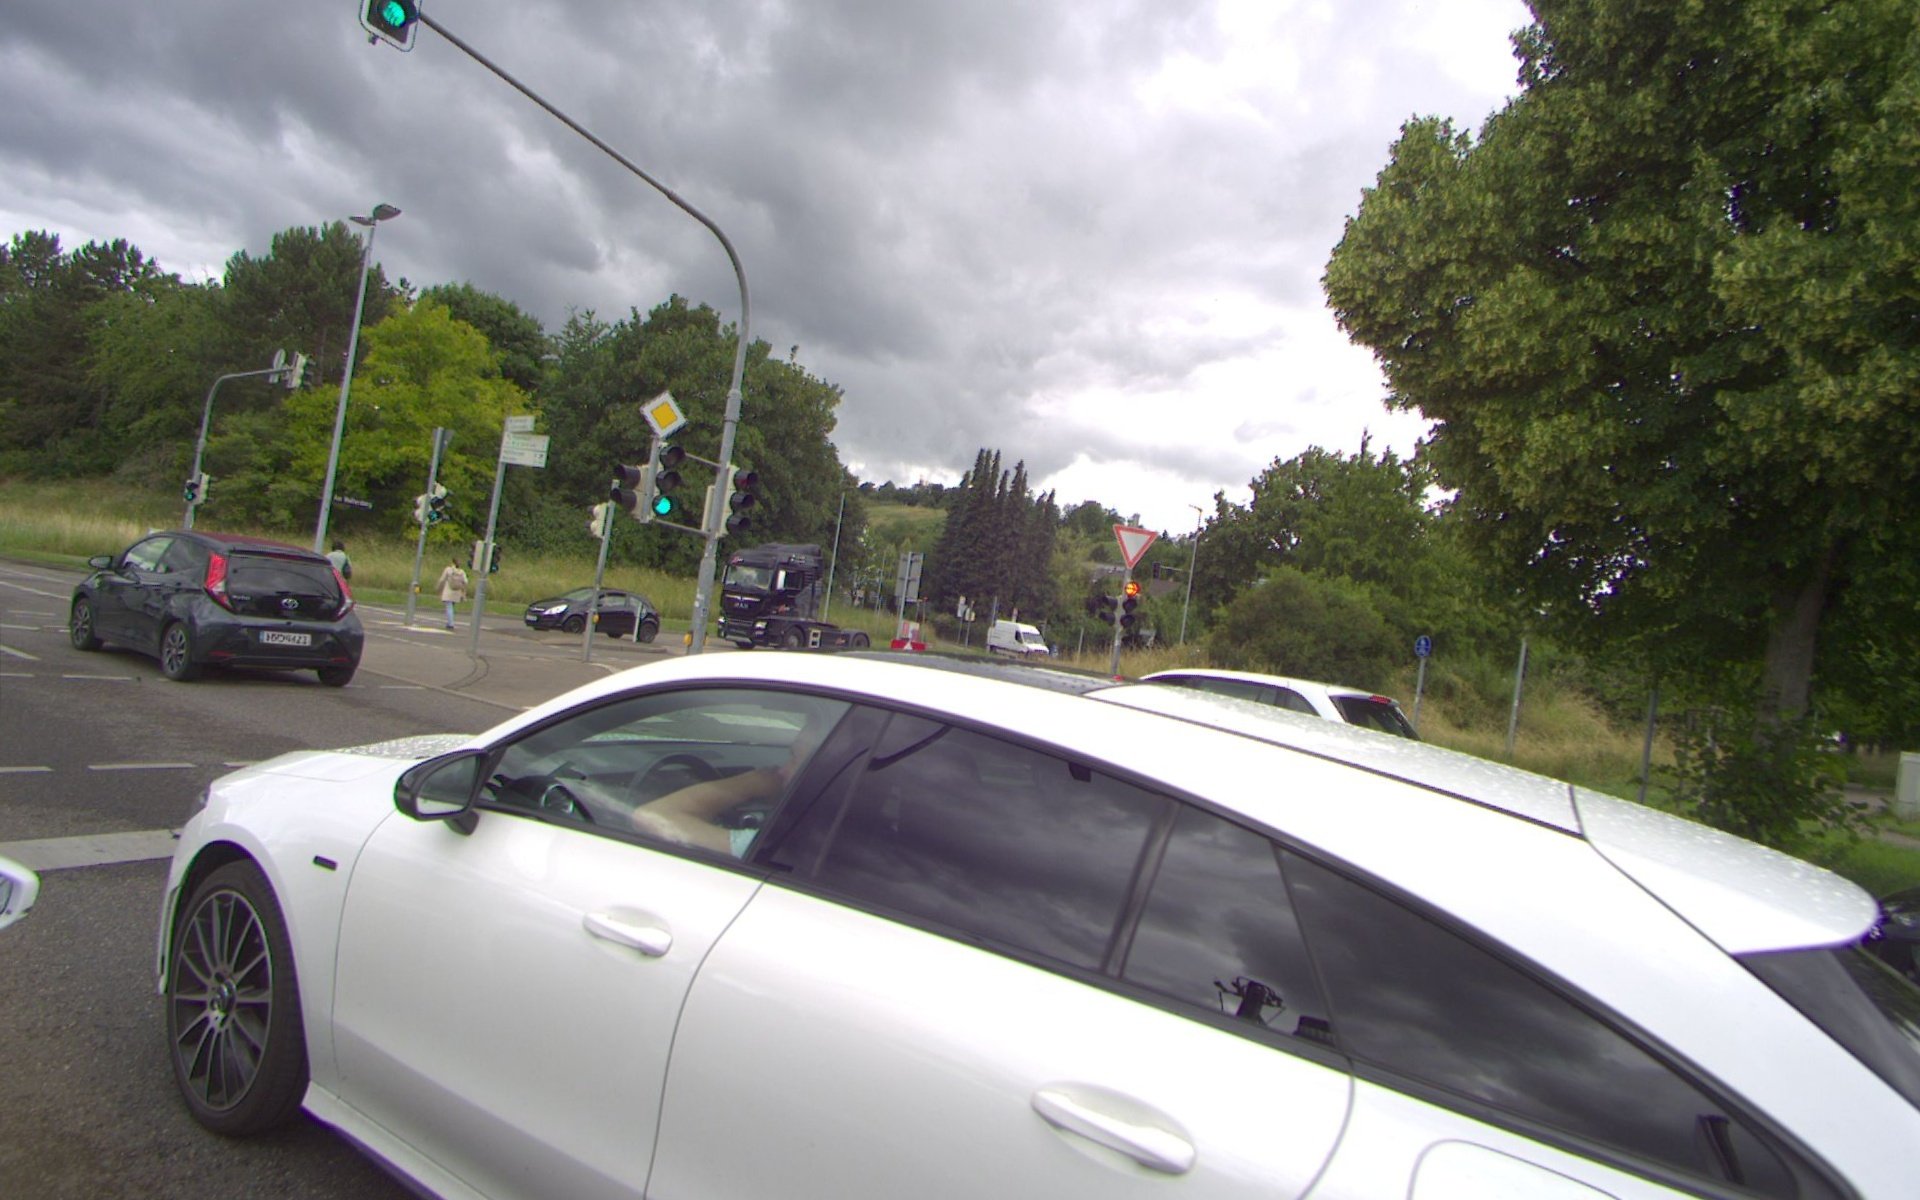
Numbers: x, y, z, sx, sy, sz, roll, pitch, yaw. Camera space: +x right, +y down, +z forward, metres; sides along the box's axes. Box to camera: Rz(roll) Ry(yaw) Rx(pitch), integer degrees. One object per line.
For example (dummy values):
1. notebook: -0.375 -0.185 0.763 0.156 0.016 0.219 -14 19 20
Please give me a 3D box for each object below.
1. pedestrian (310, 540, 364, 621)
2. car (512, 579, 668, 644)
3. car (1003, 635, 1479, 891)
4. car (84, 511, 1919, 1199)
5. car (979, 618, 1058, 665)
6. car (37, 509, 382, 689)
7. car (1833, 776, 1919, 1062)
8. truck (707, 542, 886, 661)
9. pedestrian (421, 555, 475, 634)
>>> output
1. pedestrian: -13.701 -0.426 22.138 0.703 1.681 0.644 6 -1 38
2. car: -10.558 0.370 28.970 1.669 1.353 3.882 6 -3 34
3. car: 2.593 1.487 10.253 1.752 1.673 4.325 10 -3 -37
4. car: -0.090 0.789 2.504 4.456 1.523 1.848 6 -2 32
5. car: 4.115 2.928 71.514 1.985 2.661 5.763 8 -2 -39
6. car: -8.224 -0.039 10.946 3.817 1.470 1.616 6 -2 32
7. car: 7.145 2.050 5.389 3.511 1.524 1.603 6 -2 38
8. truck: -5.723 0.151 36.153 2.648 3.527 6.004 6 -1 34
9. pedestrian: -11.297 -0.128 22.196 0.703 1.630 0.644 6 -1 37
